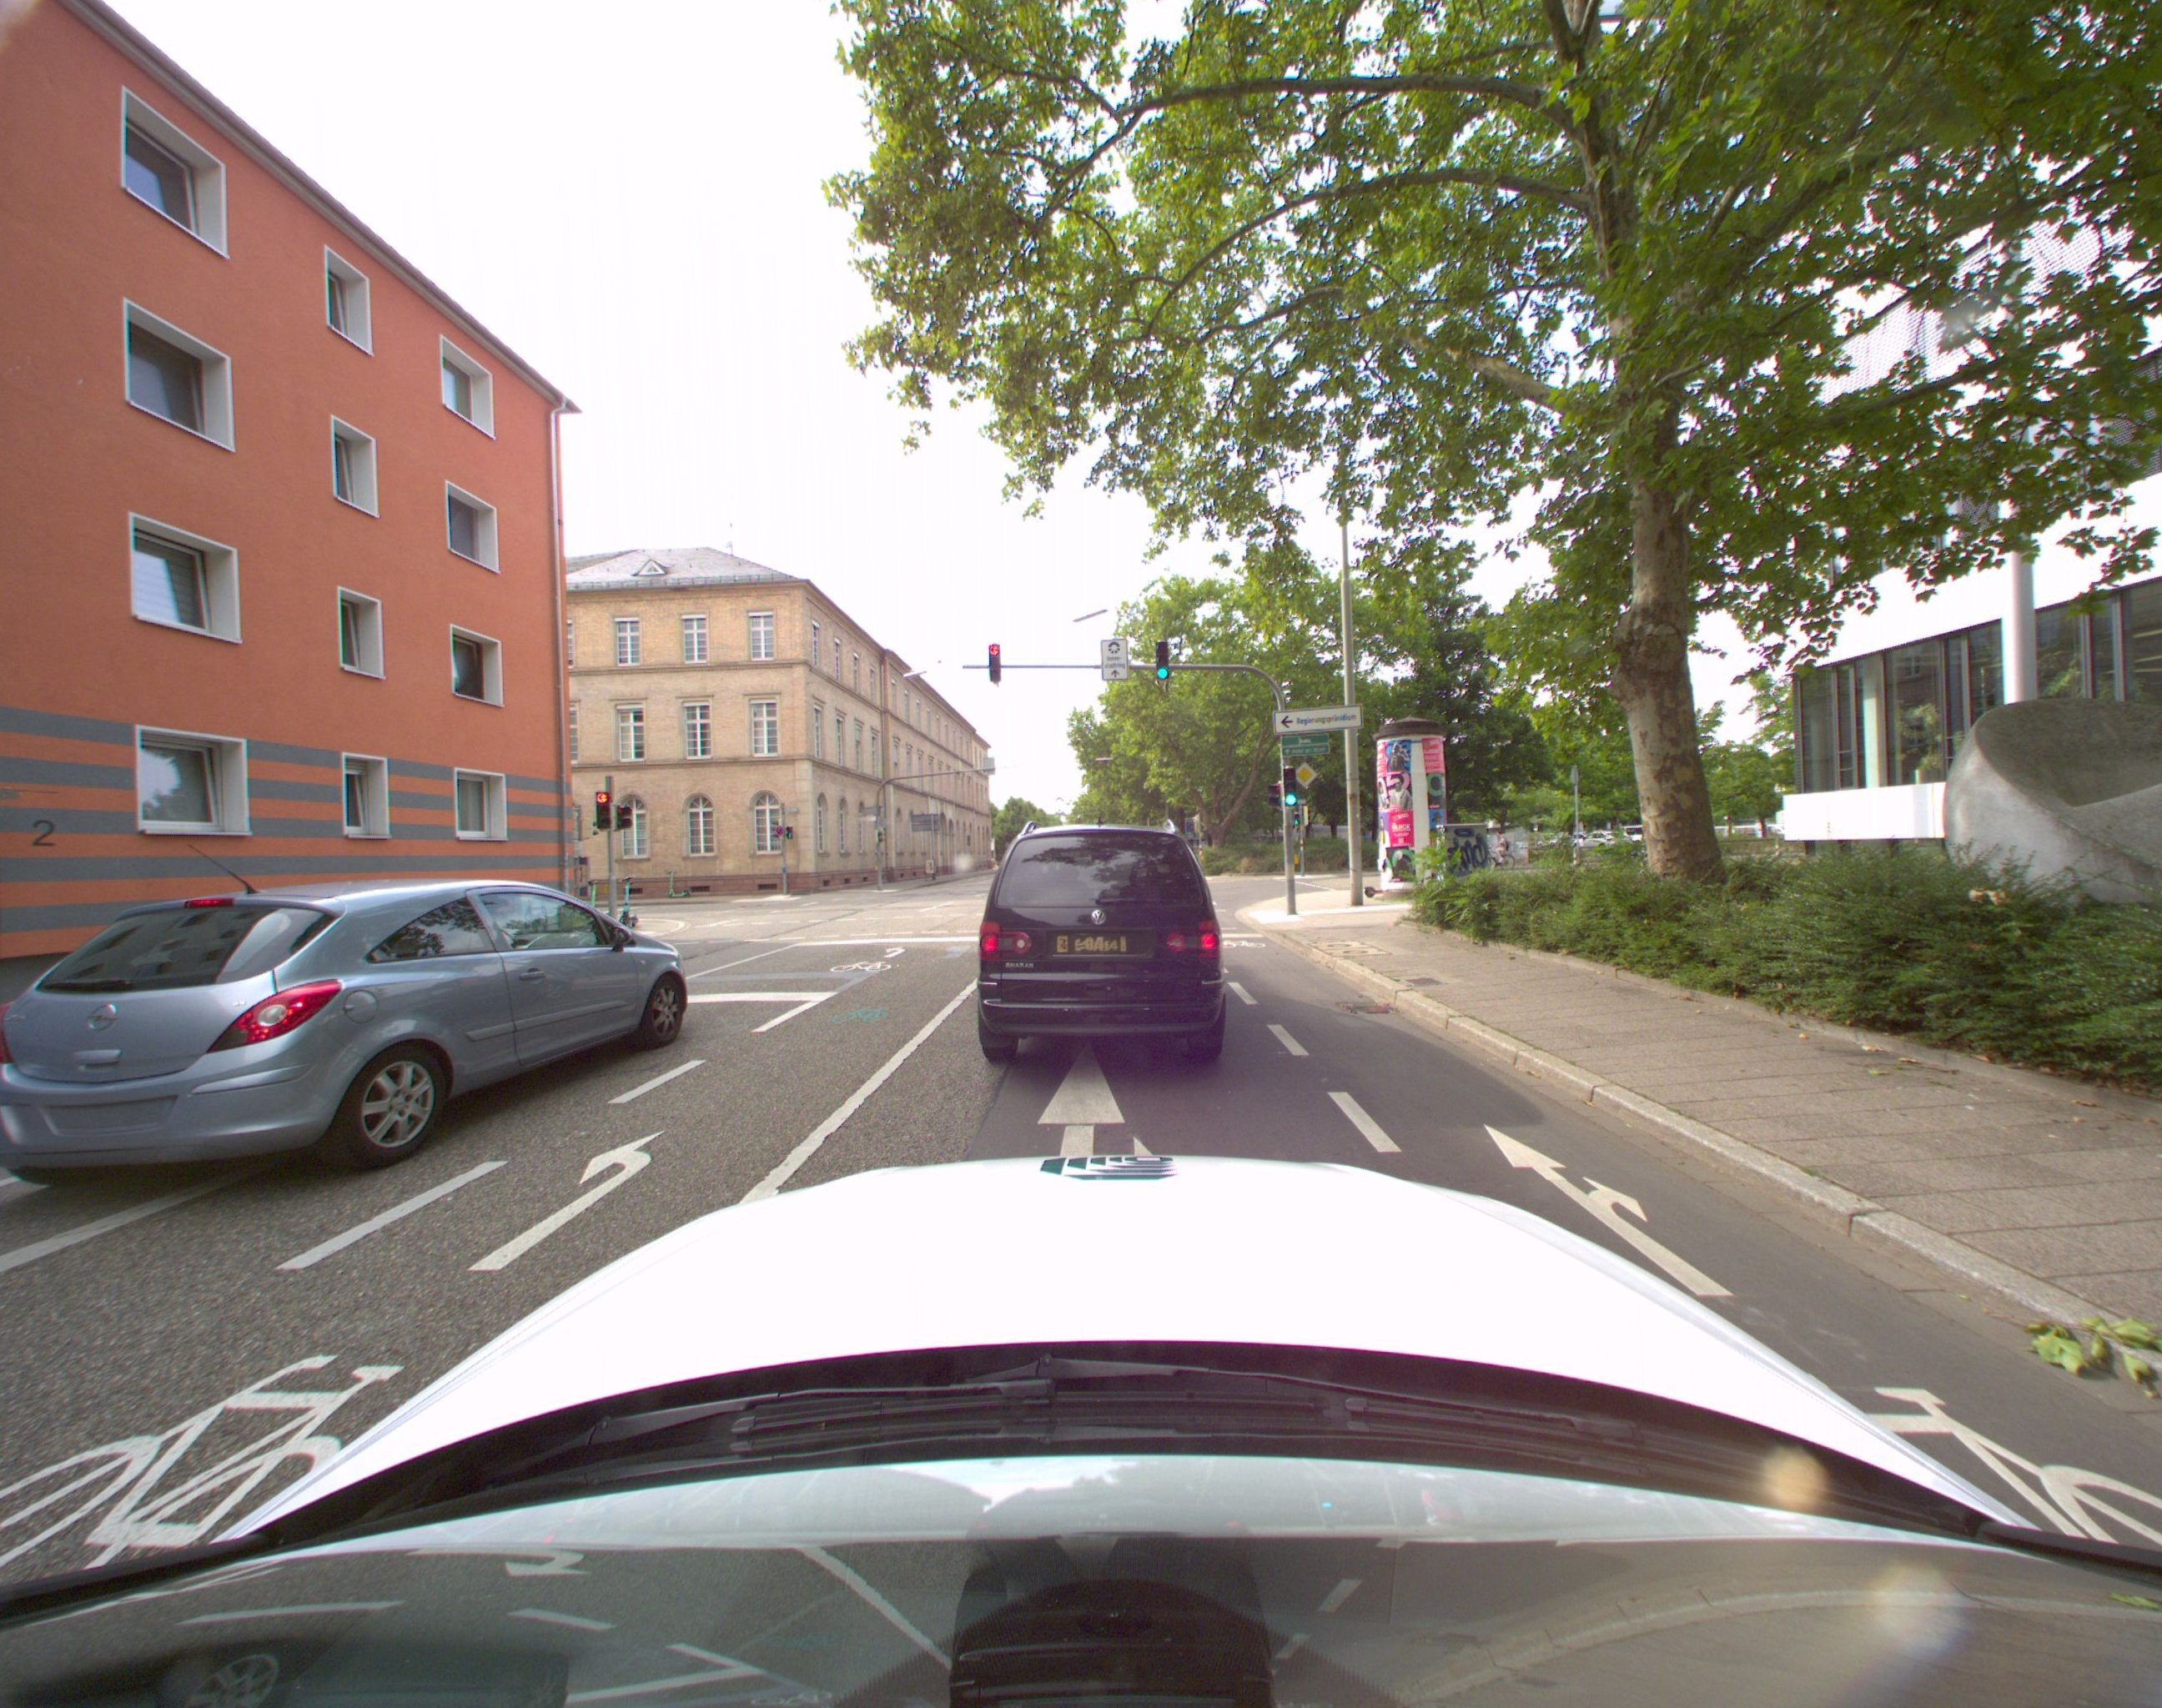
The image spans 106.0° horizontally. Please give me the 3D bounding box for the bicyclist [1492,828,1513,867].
[{"bbox_3d":[18.181,-0.281,35.126,0.566,1.618,0.536,-2,0,1],"label":"bicyclist"}]

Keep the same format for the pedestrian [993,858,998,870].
[{"bbox_3d":[-10.208,1.150,97.215,0.555,1.435,0.579,-2,0,1],"label":"pedestrian"}]

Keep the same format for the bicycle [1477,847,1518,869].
[{"bbox_3d":[17.964,0.180,35.127,1.465,0.885,0.555,-2,0,1],"label":"bicycle"}]

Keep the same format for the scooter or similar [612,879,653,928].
[{"bbox_3d":[-11.004,1.202,19.991,0.377,1.144,1.141,-2,-1,-1],"label":"scooter or similar"}]

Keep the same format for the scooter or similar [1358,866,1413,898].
[{"bbox_3d":[7.572,0.704,20.282,1.214,0.736,0.369,-2,0,1],"label":"scooter or similar"}]

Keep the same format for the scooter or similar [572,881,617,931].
[{"bbox_3d":[-11.611,1.223,19.461,0.377,1.147,1.141,-2,-1,-1],"label":"scooter or similar"}]

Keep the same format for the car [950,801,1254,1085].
[{"bbox_3d":[0.214,0.550,7.439,1.867,1.745,4.576,-2,0,2],"label":"car"}]

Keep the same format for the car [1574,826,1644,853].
[{"bbox_3d":[35.396,-0.945,54.750,1.955,1.651,4.152,-2,0,0],"label":"car"}]

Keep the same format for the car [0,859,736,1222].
[{"bbox_3d":[-4.214,0.820,5.582,1.706,1.420,4.255,-4,0,2],"label":"car"}]

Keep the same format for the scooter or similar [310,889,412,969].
[{"bbox_3d":[-11.668,1.189,13.241,0.376,1.184,1.390,-2,-1,2],"label":"scooter or similar"}]

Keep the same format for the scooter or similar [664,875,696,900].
[{"bbox_3d":[-17.214,1.439,34.976,1.134,1.049,0.379,-2,-2,1],"label":"scooter or similar"}]
